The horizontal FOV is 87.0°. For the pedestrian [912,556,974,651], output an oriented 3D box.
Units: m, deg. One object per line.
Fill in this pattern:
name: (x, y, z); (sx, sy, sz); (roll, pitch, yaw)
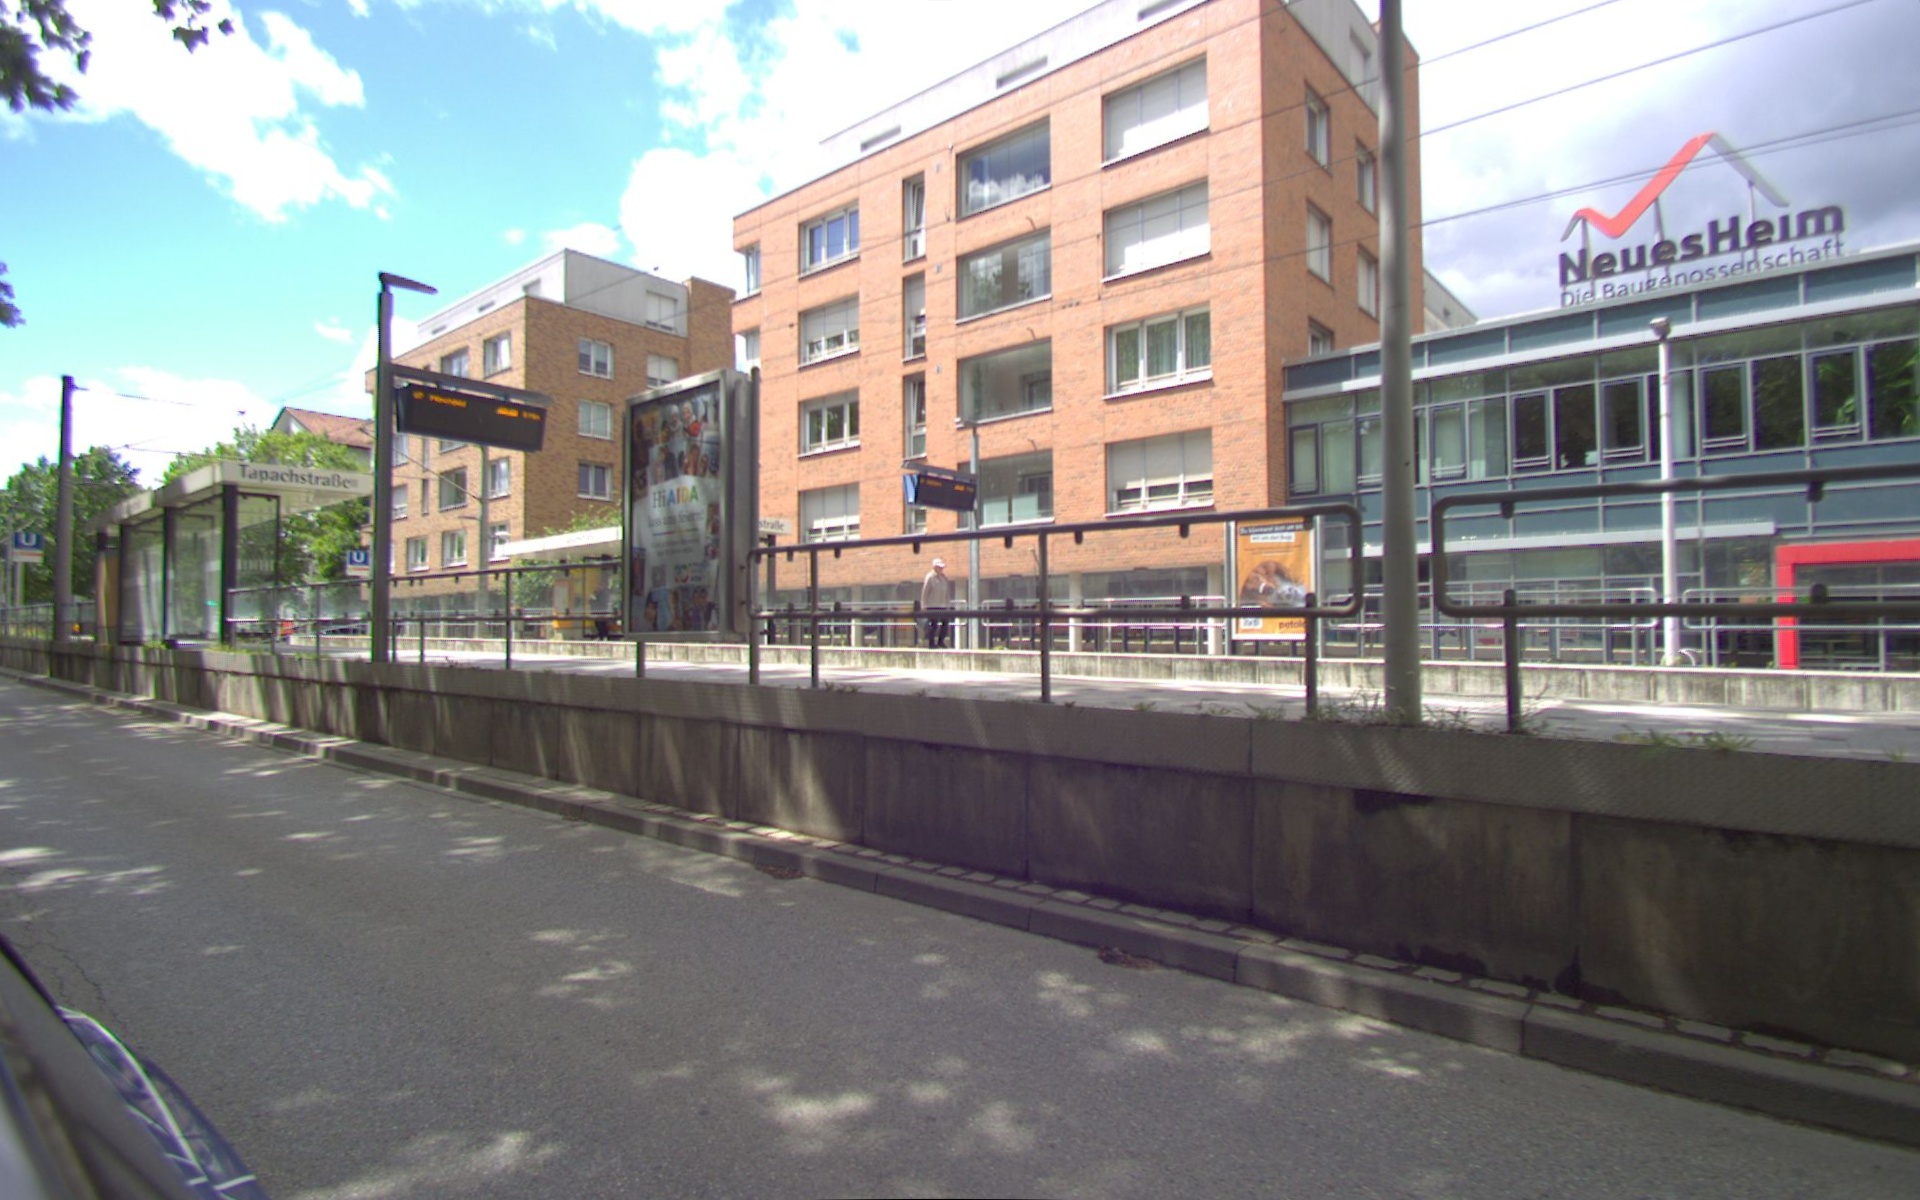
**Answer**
pedestrian: (-0.300, 0.074, 18.057); (0.815, 1.641, 0.743); (-2, -1, 40)

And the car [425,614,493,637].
car: (-31.135, 1.618, 62.955); (1.592, 1.410, 3.497); (-2, -3, 38)

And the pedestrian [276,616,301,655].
pedestrian: (-31.980, 1.703, 48.180); (0.828, 1.839, 0.736); (-2, -3, 39)

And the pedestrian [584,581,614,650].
pedestrian: (-9.437, 0.402, 26.480); (0.527, 1.777, 0.529); (-1, -3, 37)

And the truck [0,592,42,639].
truck: (-86.842, 1.348, 89.021); (2.599, 4.125, 9.590); (0, -2, 6)
